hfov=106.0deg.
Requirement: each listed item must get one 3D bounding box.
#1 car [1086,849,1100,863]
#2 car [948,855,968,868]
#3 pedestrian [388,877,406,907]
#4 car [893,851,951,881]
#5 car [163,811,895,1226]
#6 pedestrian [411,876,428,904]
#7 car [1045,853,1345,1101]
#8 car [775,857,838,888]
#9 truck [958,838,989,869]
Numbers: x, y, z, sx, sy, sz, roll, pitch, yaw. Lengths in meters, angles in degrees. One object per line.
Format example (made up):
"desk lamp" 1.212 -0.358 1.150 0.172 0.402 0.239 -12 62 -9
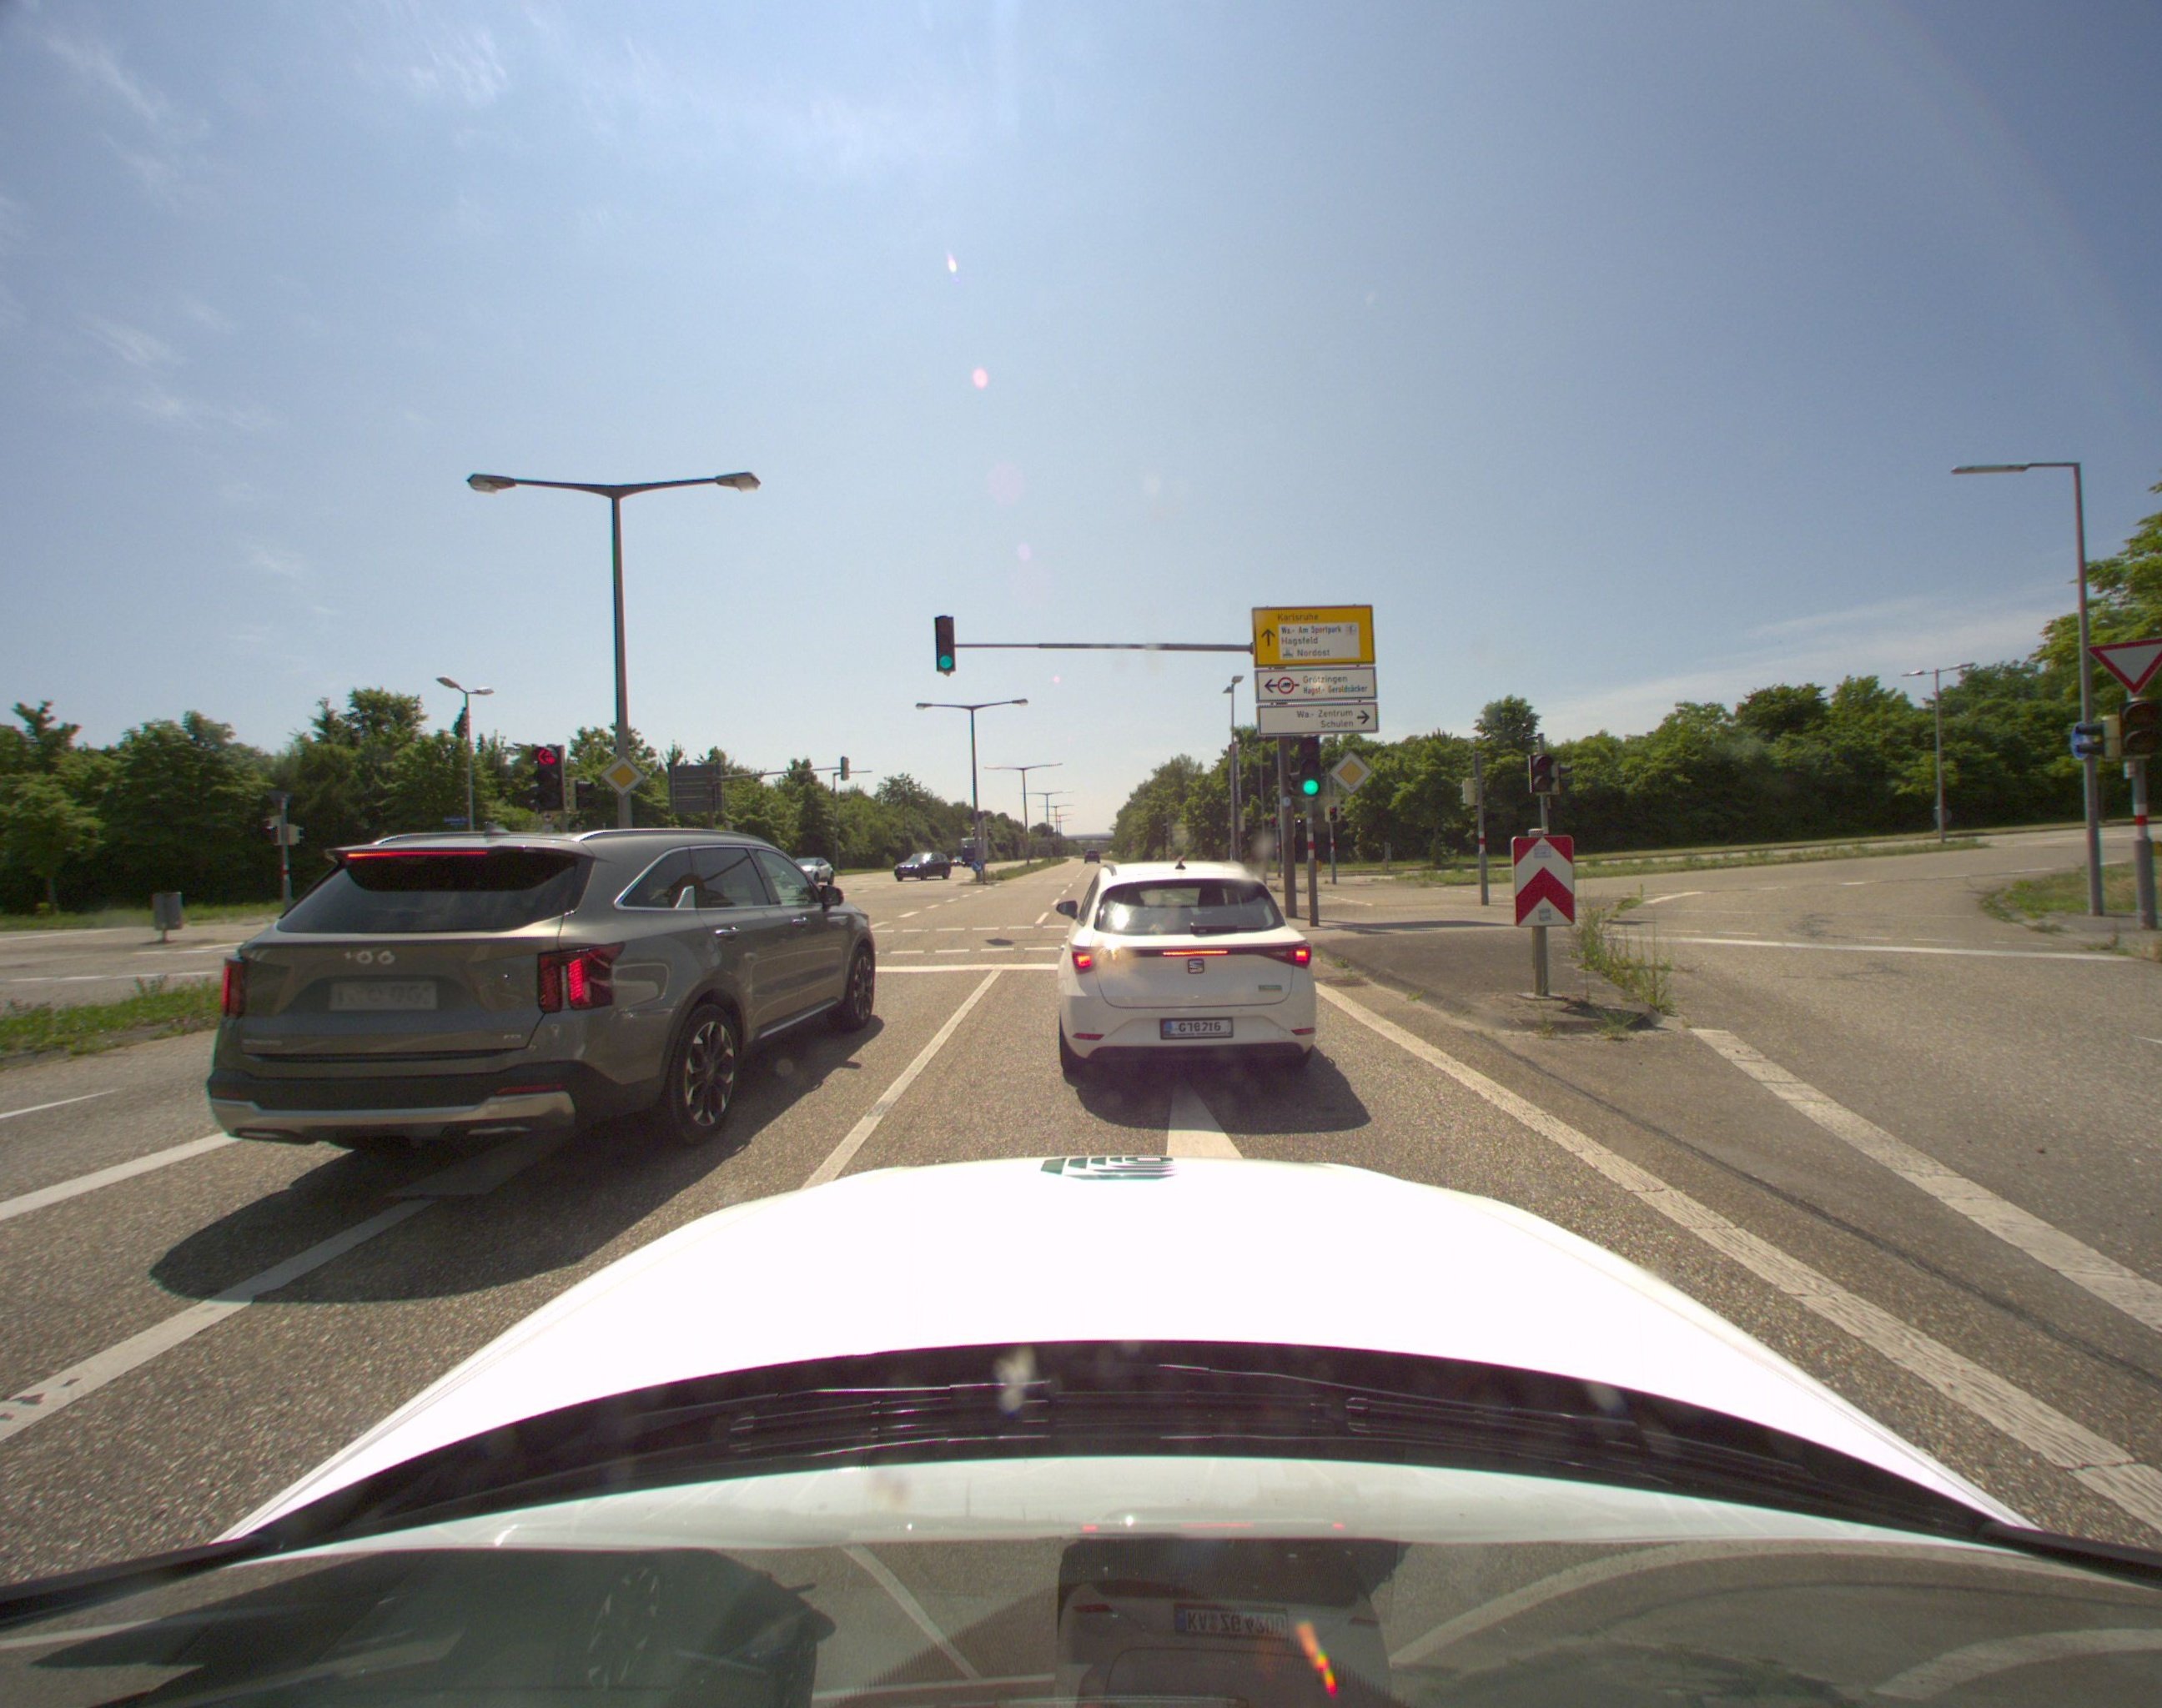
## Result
"car" 1.659 0.280 110.001 1.848 1.709 4.002 -2 0 2
"car" -16.974 1.001 112.552 1.816 1.732 4.928 -2 0 2
"pedestrian" -37.512 2.056 44.643 0.620 1.603 0.790 -2 0 -34
"car" -9.807 0.717 50.515 1.693 1.663 4.242 -2 0 17
"car" -2.823 0.686 5.697 1.797 1.662 4.646 -2 0 2
"pedestrian" -36.665 1.969 45.170 0.620 1.503 0.790 -2 0 -34
"car" 0.717 0.730 6.579 1.728 1.428 3.696 0 -1 2
"car" -14.738 0.958 43.981 1.816 1.455 4.170 -2 0 2
"truck" -13.351 -0.085 102.067 2.677 3.570 7.269 -2 0 1
